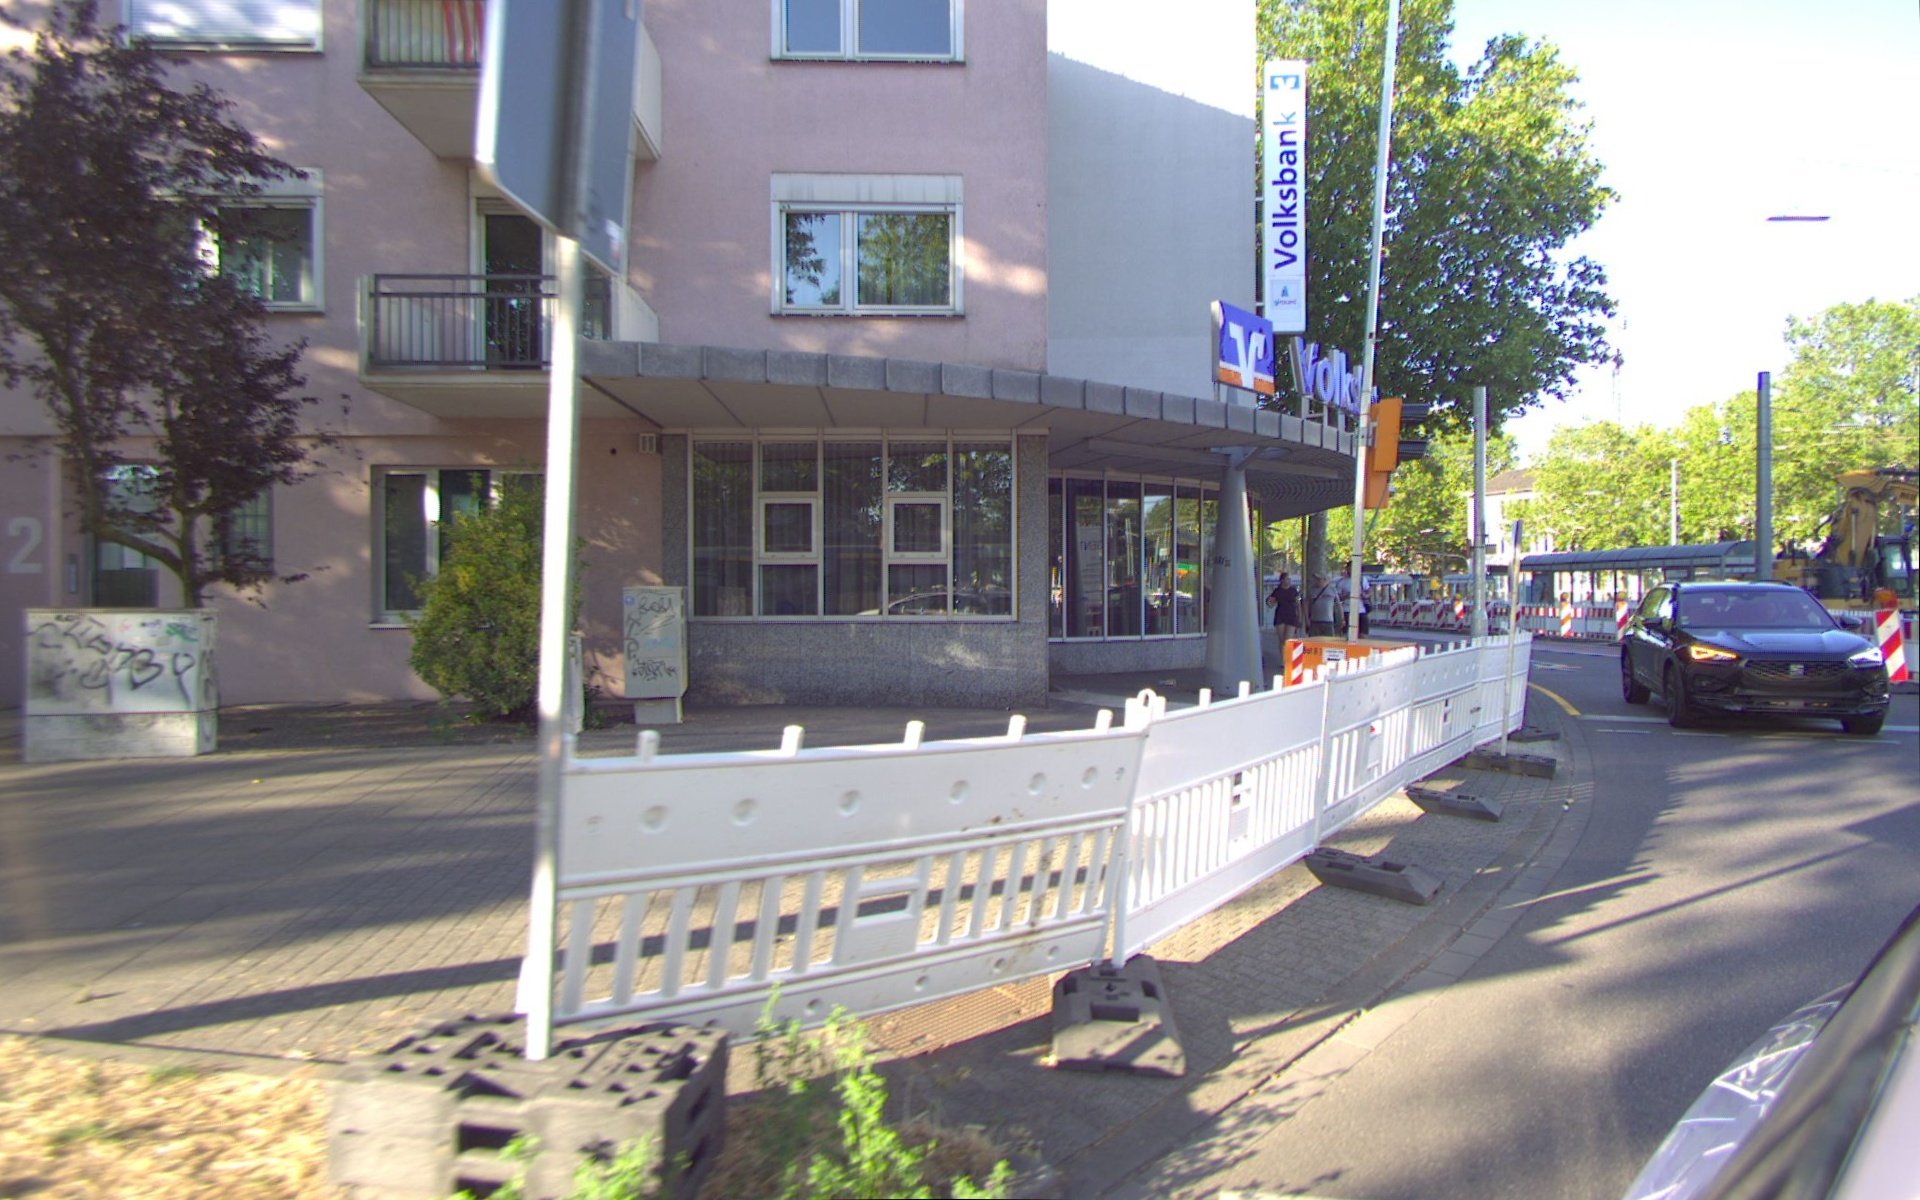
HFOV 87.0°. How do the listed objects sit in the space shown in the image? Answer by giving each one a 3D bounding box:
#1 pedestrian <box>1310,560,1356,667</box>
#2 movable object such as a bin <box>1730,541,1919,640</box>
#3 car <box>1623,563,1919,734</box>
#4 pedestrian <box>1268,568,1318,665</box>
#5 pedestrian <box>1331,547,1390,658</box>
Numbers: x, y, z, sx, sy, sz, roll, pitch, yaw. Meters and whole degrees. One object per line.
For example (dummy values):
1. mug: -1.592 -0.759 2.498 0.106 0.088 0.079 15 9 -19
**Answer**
1. pedestrian: 6.208 0.215 16.817 0.579 1.730 0.672 2 0 29
2. movable object such as a bin: 23.521 -0.240 26.605 2.599 2.347 4.905 -1 0 -3
3. car: 9.480 0.457 12.095 1.979 1.668 4.168 -1 0 25
4. pedestrian: 5.649 0.268 17.169 0.629 1.593 0.766 2 0 29
5. pedestrian: 7.247 0.042 18.290 0.832 1.893 1.090 4 0 24
